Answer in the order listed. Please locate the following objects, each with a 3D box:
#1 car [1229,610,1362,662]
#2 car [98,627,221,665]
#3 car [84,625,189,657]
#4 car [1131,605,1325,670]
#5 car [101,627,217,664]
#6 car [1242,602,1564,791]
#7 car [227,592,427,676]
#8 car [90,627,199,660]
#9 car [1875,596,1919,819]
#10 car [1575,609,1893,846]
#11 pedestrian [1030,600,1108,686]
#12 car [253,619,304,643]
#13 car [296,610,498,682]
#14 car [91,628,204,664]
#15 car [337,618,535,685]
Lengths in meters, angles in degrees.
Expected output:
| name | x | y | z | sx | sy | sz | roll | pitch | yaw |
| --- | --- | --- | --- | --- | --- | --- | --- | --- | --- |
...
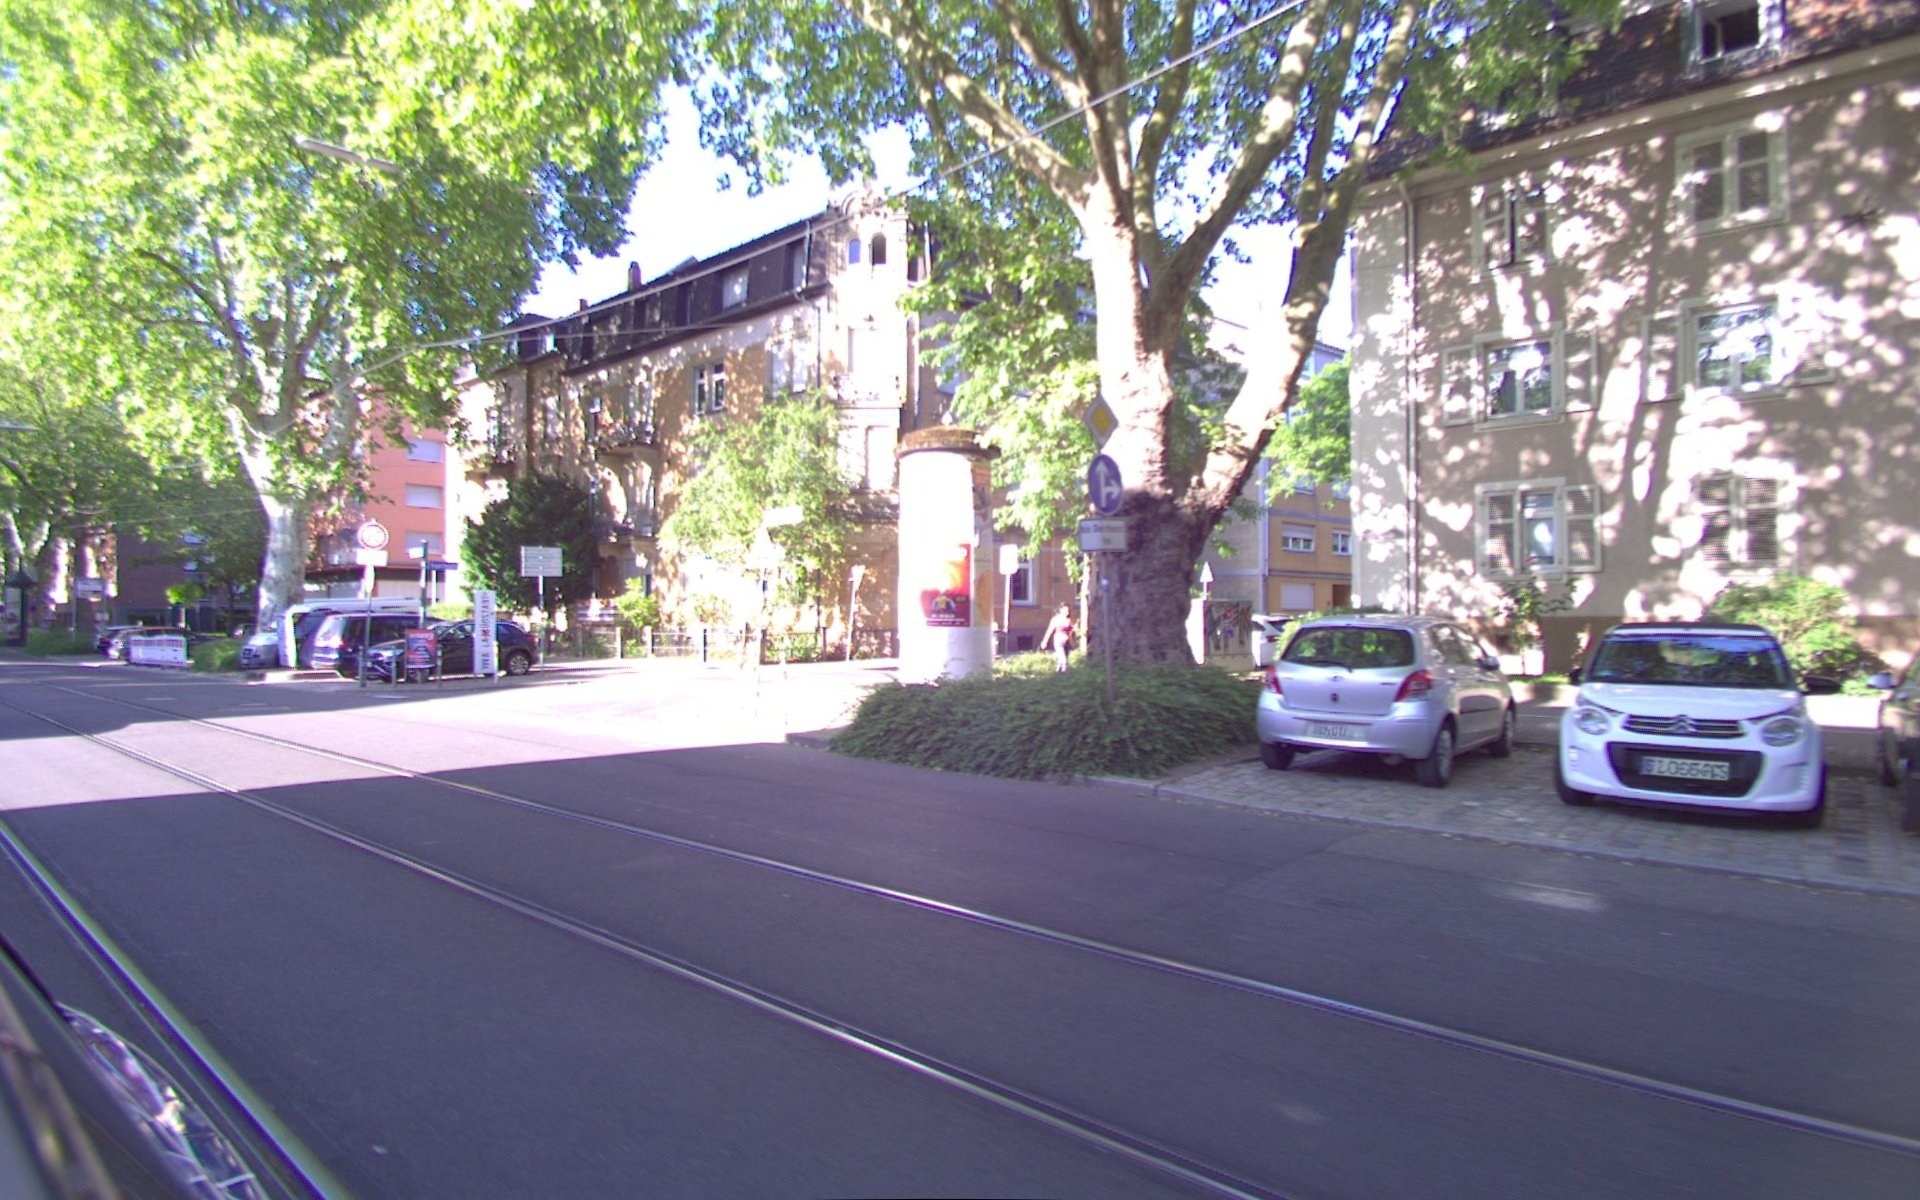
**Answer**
| name | x | y | z | sx | sy | sz | roll | pitch | yaw |
| --- | --- | --- | --- | --- | --- | --- | --- | --- | --- |
| car | 9.638 | 1.010 | 29.244 | 1.460 | 1.402 | 3.352 | 0 | -1 | -41 |
| car | -34.785 | 1.976 | 44.059 | 1.809 | 1.527 | 3.917 | -2 | -2 | 39 |
| car | -42.143 | 2.080 | 51.860 | 1.809 | 1.527 | 3.917 | -2 | -2 | 39 |
| car | 6.685 | 0.917 | 25.683 | 1.681 | 1.507 | 4.616 | 0 | -1 | -41 |
| car | -36.746 | 2.069 | 46.480 | 1.809 | 1.527 | 3.917 | -2 | -2 | 39 |
| car | 4.593 | 0.815 | 10.268 | 3.638 | 1.565 | 1.705 | 0 | -1 | -44 |
| car | -19.697 | 1.025 | 31.690 | 2.026 | 2.416 | 4.956 | -2 | -2 | 39 |
| car | -40.097 | 2.120 | 49.821 | 1.809 | 1.527 | 3.917 | -2 | -2 | 39 |
| car | 7.761 | 0.773 | 6.917 | 1.796 | 1.636 | 3.649 | -1 | -1 | 36 |
| car | 6.238 | 0.836 | 8.431 | 1.698 | 1.497 | 3.651 | -1 | -1 | 34 |
| pedestrian | 2.089 | 0.795 | 19.502 | 1.076 | 1.589 | 1.029 | 0 | 0 | -31 |
| car | -43.323 | 1.998 | 64.342 | 3.648 | 1.458 | 1.650 | -1 | -4 | 39 |
| car | -15.345 | 1.208 | 27.765 | 2.026 | 1.779 | 4.408 | -2 | -2 | 39 |
| car | -38.325 | 2.156 | 47.813 | 1.809 | 1.527 | 3.917 | -2 | -2 | 39 |
| car | -13.367 | 1.263 | 25.995 | 1.924 | 1.527 | 4.118 | -2 | -2 | 39 |
